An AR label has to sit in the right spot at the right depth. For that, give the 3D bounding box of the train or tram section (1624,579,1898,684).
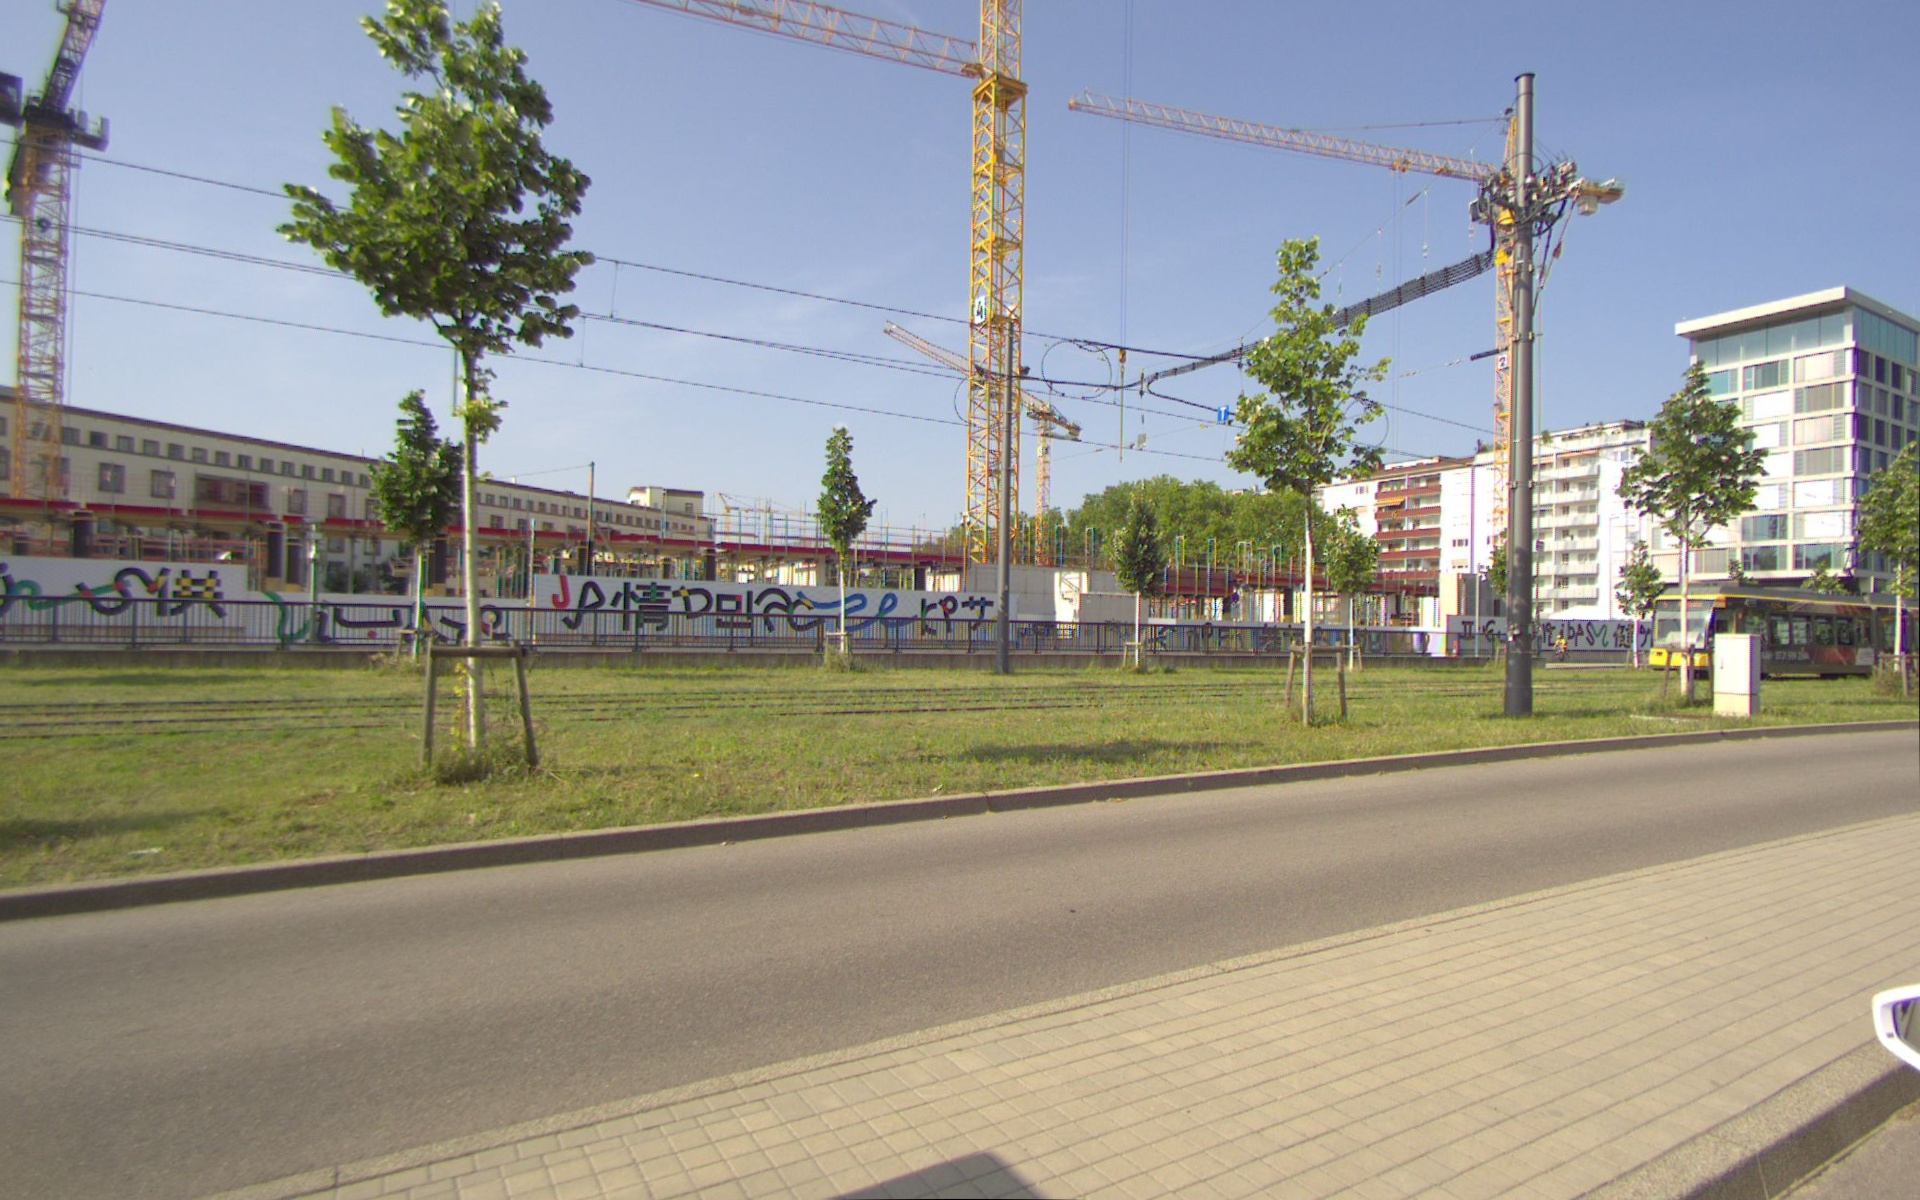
[{"bbox_3d":[31.536,1.323,39.157,14.713,3.583,2.849,2,-1,-28],"label":"train or tram section"}]

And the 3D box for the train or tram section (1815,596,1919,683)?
[{"bbox_3d":[43.941,1.833,46.018,13.446,3.583,2.868,2,-1,-30],"label":"train or tram section"}]
